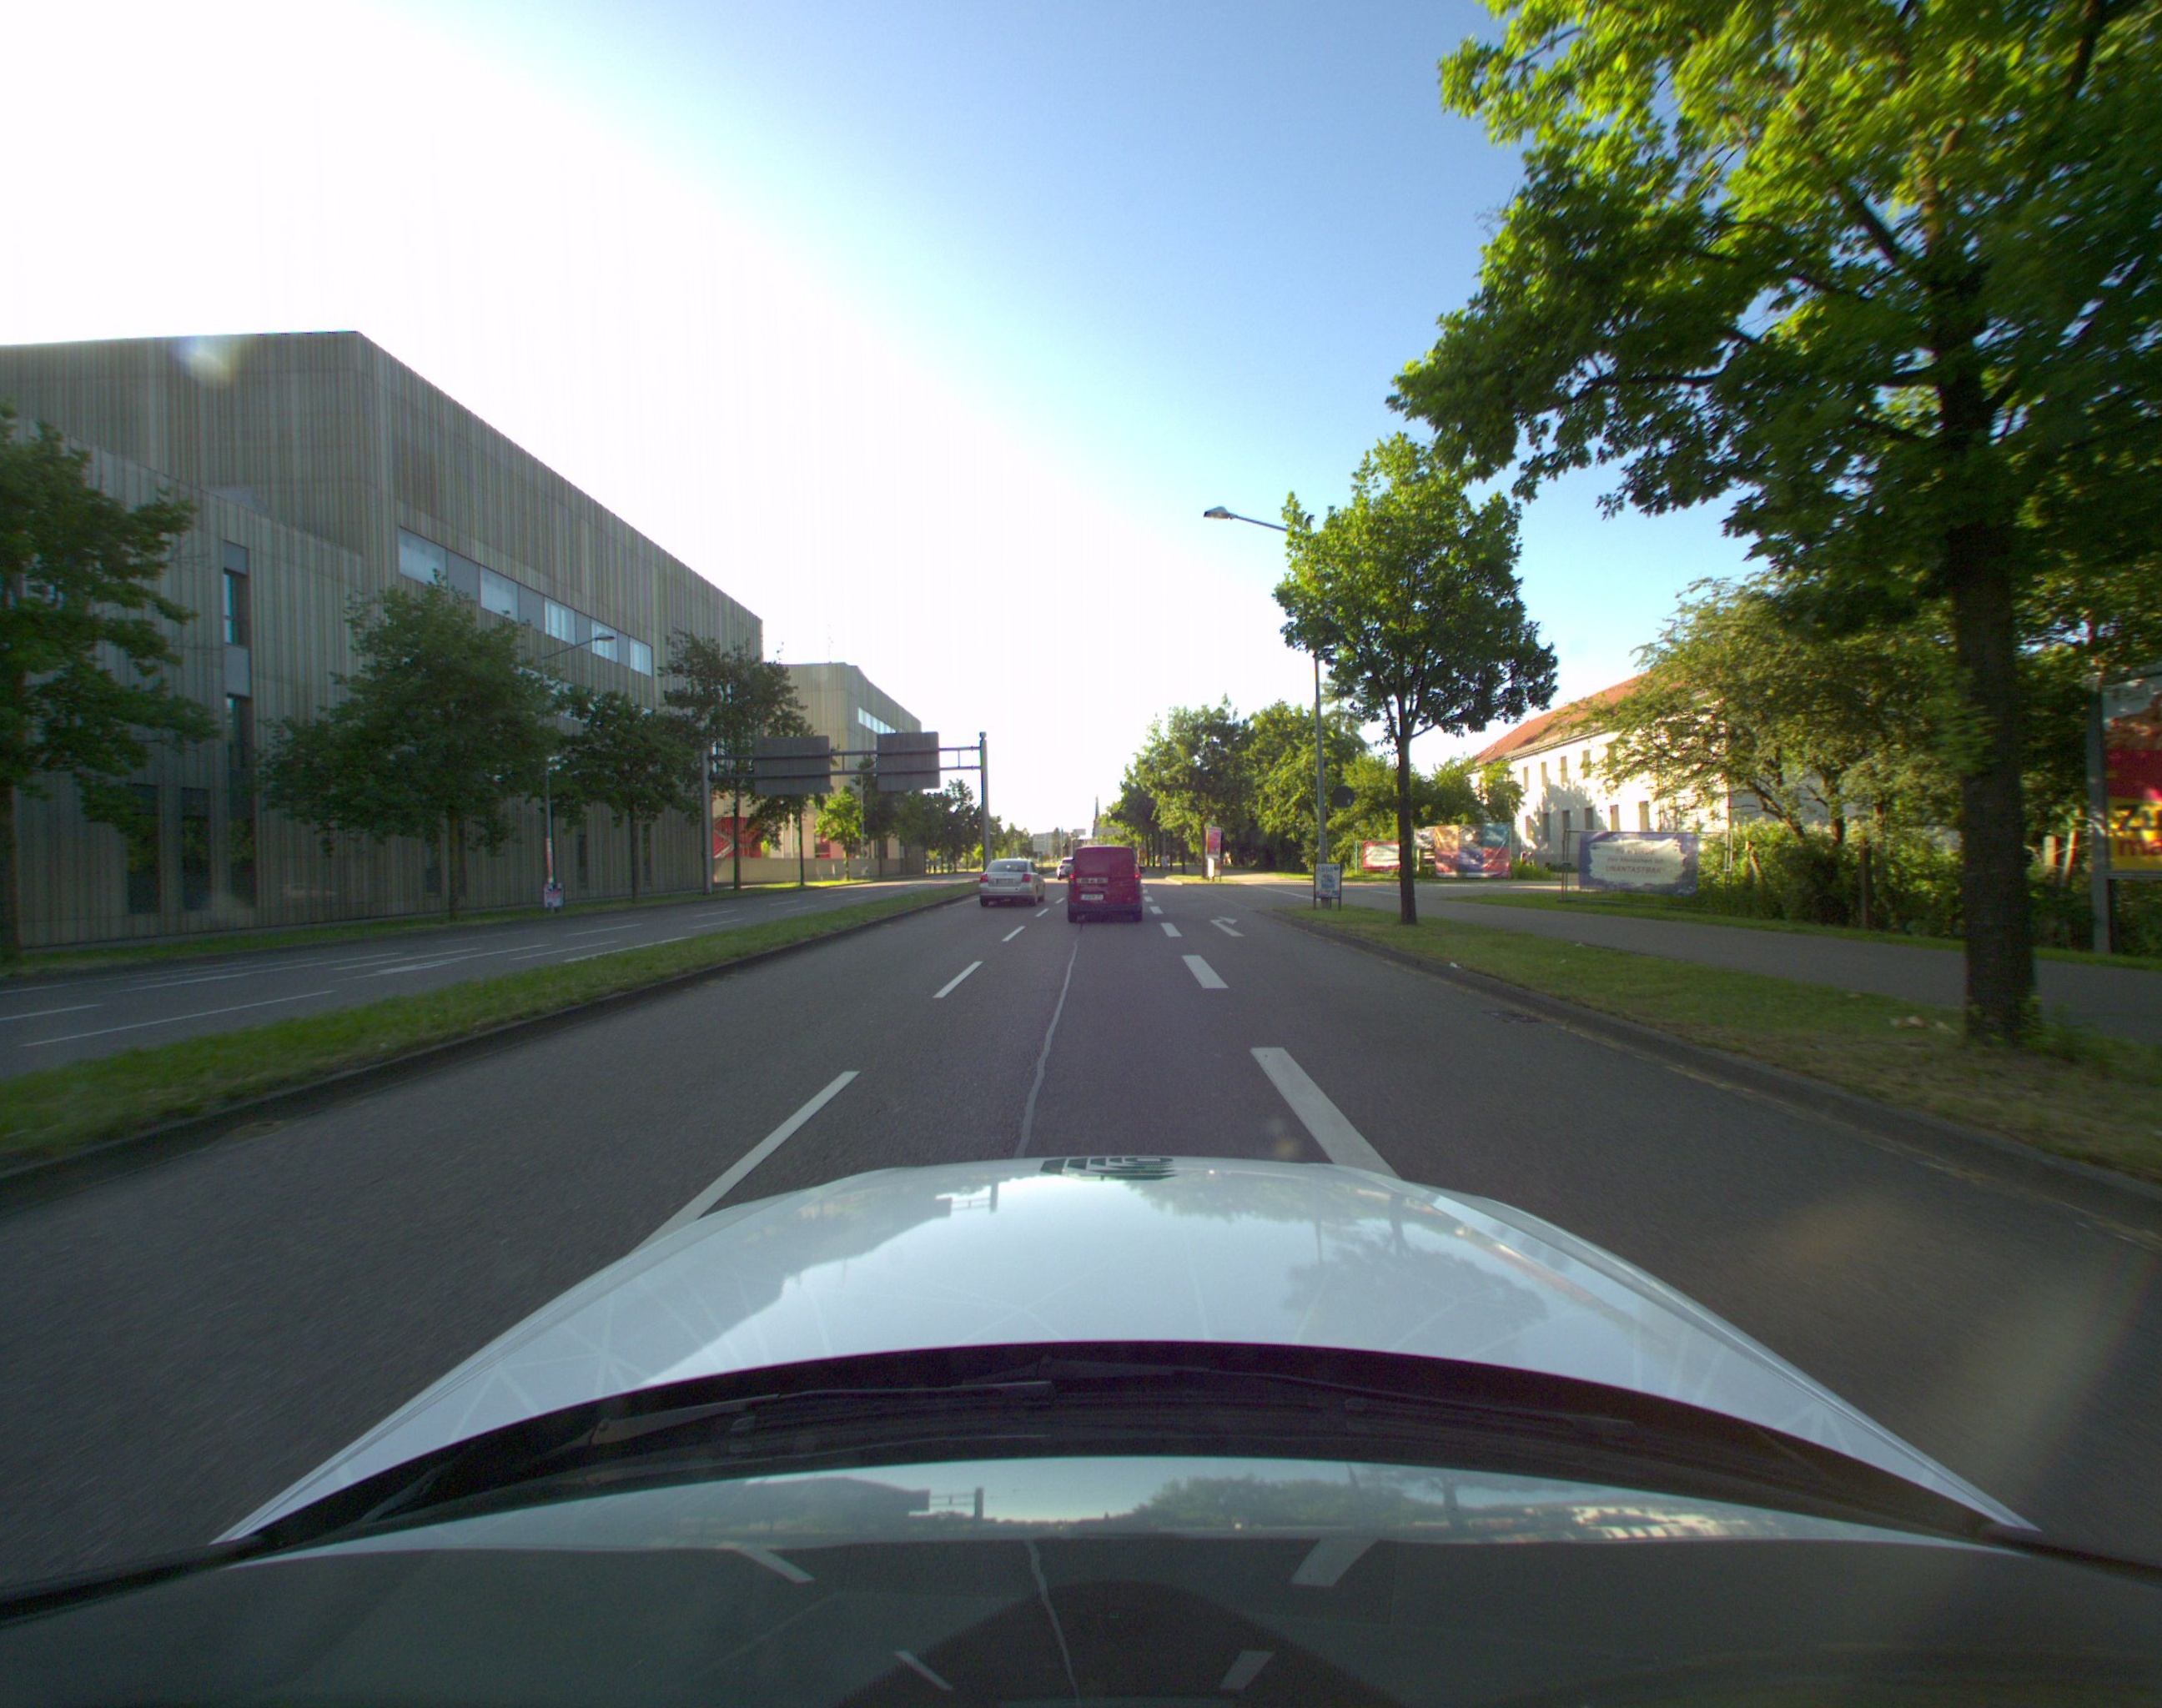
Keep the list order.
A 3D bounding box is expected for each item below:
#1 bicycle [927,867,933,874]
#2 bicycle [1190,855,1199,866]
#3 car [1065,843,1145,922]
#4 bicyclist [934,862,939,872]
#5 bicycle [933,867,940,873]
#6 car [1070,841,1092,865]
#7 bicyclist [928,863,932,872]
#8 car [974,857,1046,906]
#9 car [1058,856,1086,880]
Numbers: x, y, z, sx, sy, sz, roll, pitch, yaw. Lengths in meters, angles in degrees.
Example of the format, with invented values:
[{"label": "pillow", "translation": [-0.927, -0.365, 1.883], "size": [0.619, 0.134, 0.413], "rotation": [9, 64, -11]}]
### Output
[{"label": "bicycle", "translation": [-22.663, 2.447, 122.318], "size": [0.485, 1.003, 2.096], "rotation": [-2, -1, 0]}, {"label": "bicycle", "translation": [11.793, 0.670, 84.538], "size": [0.769, 1.131, 1.713], "rotation": [-2, 0, 9]}, {"label": "car", "translation": [0.581, 0.654, 20.375], "size": [1.800, 1.759, 4.006], "rotation": [-1, 0, 1]}, {"label": "bicyclist", "translation": [-21.721, 1.937, 122.198], "size": [0.560, 1.392, 0.747], "rotation": [-2, -1, 0]}, {"label": "bicycle", "translation": [-21.705, 2.390, 122.178], "size": [0.568, 1.003, 2.096], "rotation": [-2, -1, 0]}, {"label": "car", "translation": [-0.007, -0.069, 66.157], "size": [1.655, 1.856, 3.559], "rotation": [-2, 0, 1]}, {"label": "bicyclist", "translation": [-22.677, 2.046, 122.415], "size": [0.480, 1.395, 0.844], "rotation": [-2, -1, 0]}, {"label": "car", "translation": [-2.216, 0.825, 26.369], "size": [1.834, 1.456, 4.163], "rotation": [-1, 0, 1]}, {"label": "car", "translation": [-0.578, 0.879, 52.381], "size": [1.655, 1.398, 3.559], "rotation": [-2, 0, 1]}]
